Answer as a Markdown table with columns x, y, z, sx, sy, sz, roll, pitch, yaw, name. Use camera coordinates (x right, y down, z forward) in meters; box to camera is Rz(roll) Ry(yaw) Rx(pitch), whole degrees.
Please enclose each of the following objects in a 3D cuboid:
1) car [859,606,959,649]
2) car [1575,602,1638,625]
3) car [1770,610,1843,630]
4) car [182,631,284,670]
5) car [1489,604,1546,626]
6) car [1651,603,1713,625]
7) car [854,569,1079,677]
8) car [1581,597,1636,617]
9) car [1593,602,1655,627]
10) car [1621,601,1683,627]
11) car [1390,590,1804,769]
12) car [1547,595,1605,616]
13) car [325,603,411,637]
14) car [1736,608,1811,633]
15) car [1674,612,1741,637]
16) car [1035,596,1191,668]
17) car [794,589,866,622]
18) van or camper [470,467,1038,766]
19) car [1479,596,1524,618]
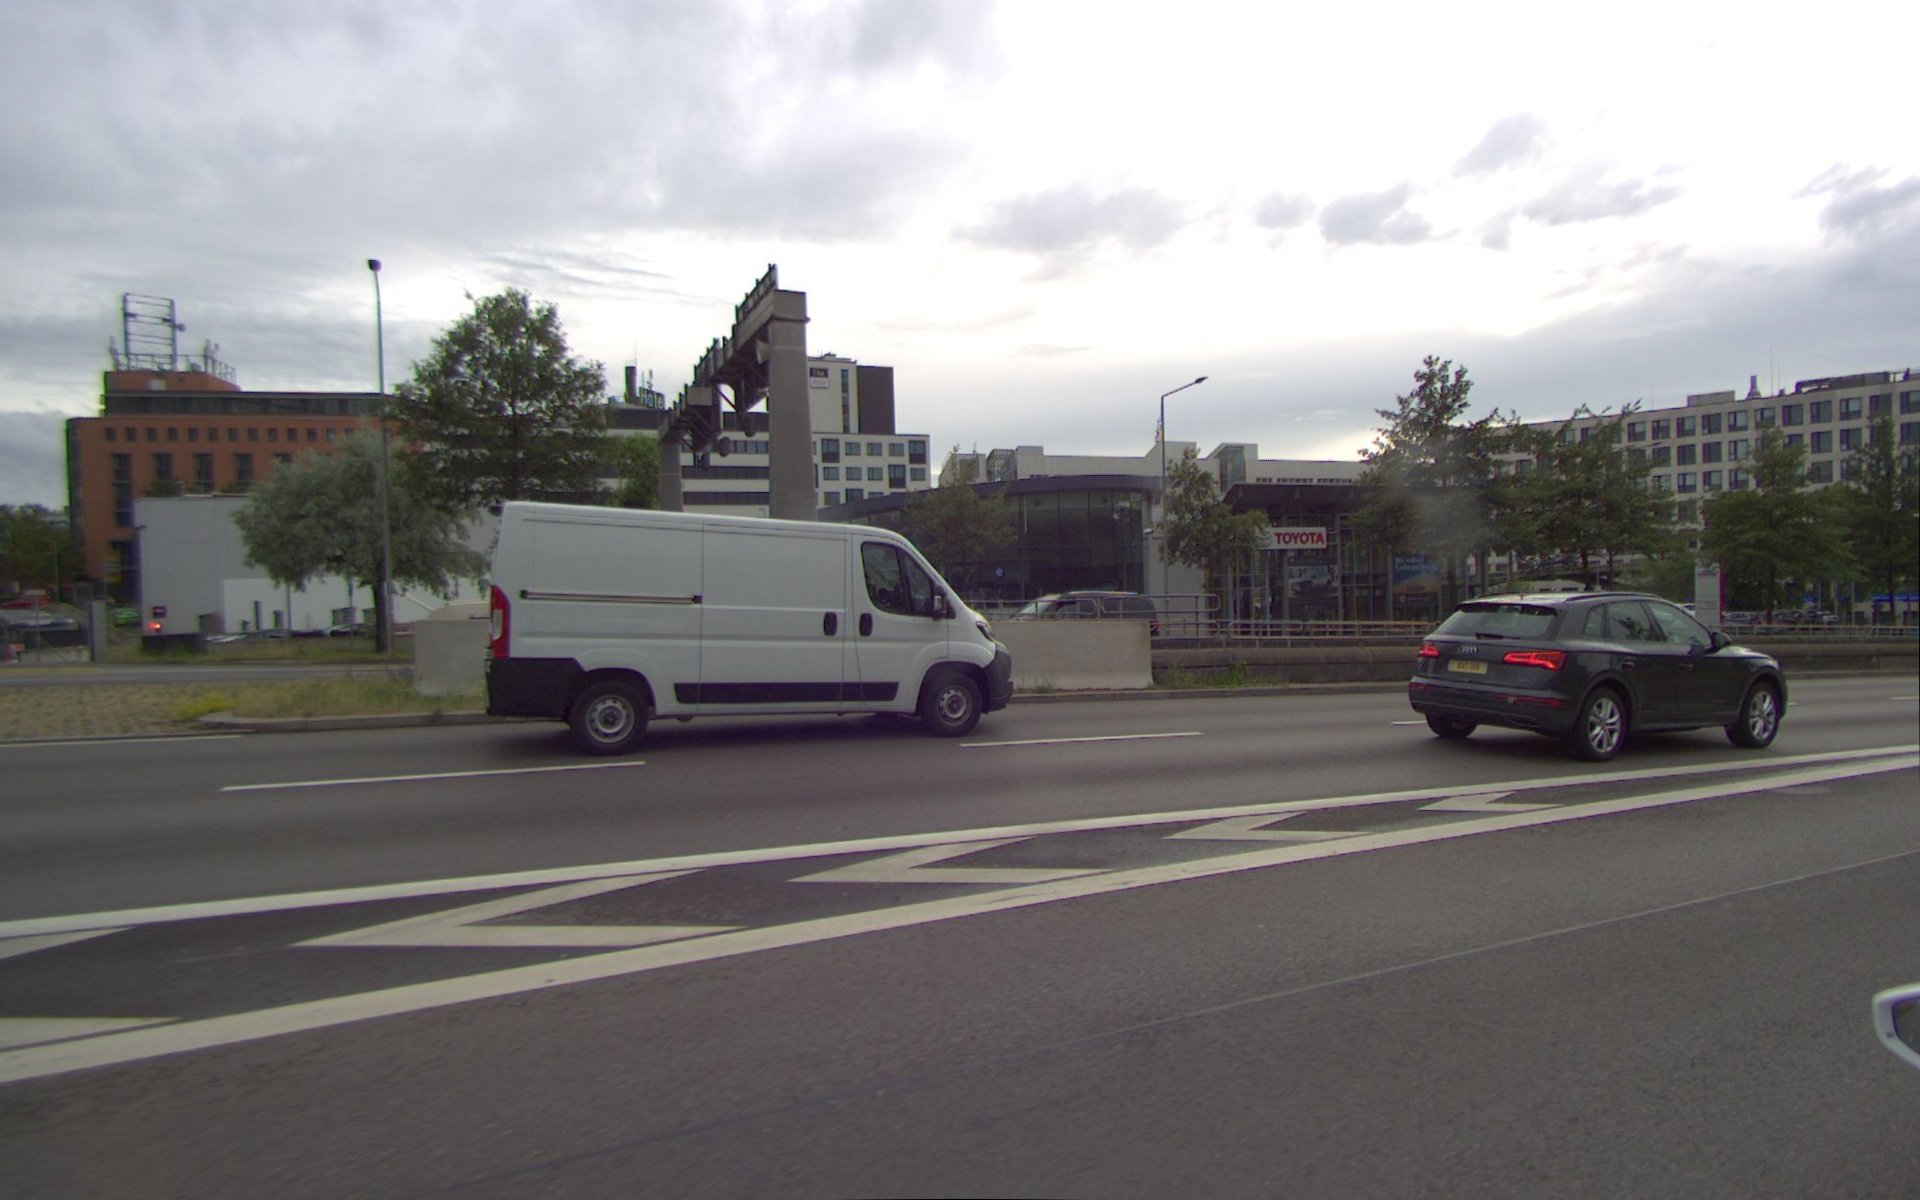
| x | y | z | sx | sy | sz | roll | pitch | yaw | name |
| --- | --- | --- | --- | --- | --- | --- | --- | --- | --- |
| -2.356 | 1.219 | 45.684 | 4.417 | 1.707 | 1.921 | -1 | 2 | -6 | car |
| 53.867 | 1.107 | 83.765 | 1.974 | 1.673 | 3.973 | -2 | 3 | -26 | car |
| 66.657 | 1.555 | 79.132 | 1.823 | 1.372 | 3.978 | 0 | 2 | -22 | car |
| -38.608 | 2.667 | 53.476 | 1.960 | 1.707 | 4.000 | 0 | 2 | 17 | car |
| 47.544 | 1.270 | 85.809 | 1.969 | 1.673 | 3.982 | -2 | 2 | -19 | car |
| 63.237 | 1.184 | 88.053 | 1.969 | 1.673 | 3.982 | -2 | 2 | -19 | car |
| 0.121 | 0.314 | 17.254 | 3.502 | 1.612 | 1.681 | -2 | 3 | -27 | car |
| 60.414 | 0.585 | 93.601 | 1.798 | 1.673 | 3.971 | -2 | 3 | -27 | car |
| 56.186 | 1.214 | 85.057 | 1.969 | 2.040 | 3.982 | 1 | 0 | -19 | car |
| 58.667 | 1.166 | 85.256 | 1.969 | 1.901 | 3.982 | -2 | 2 | -19 | car |
| 7.073 | 0.770 | 11.044 | 4.688 | 1.639 | 1.744 | 1 | 0 | -28 | car |
| 55.276 | 0.480 | 90.197 | 1.974 | 1.673 | 3.973 | -2 | 3 | -26 | car |
| -34.413 | 1.130 | 58.522 | 1.960 | 1.729 | 4.000 | 0 | 2 | 17 | car |
| 62.365 | 1.561 | 77.050 | 1.971 | 1.673 | 3.978 | 0 | 2 | -22 | car |
| 55.244 | 1.786 | 74.326 | 3.935 | 1.673 | 1.993 | 2 | 2 | 36 | car |
| 4.317 | 0.849 | 28.383 | 3.946 | 1.773 | 1.987 | -2 | 2 | -26 | car |
| -7.625 | 0.317 | 58.869 | 3.935 | 1.806 | 1.916 | 1 | 3 | 36 | car |
| -2.076 | 0.196 | 10.517 | 5.459 | 2.471 | 2.196 | 1 | -1 | -27 | van or camper |
| 54.172 | 0.658 | 100.556 | 3.927 | 2.076 | 1.997 | 0 | 3 | 28 | car |
